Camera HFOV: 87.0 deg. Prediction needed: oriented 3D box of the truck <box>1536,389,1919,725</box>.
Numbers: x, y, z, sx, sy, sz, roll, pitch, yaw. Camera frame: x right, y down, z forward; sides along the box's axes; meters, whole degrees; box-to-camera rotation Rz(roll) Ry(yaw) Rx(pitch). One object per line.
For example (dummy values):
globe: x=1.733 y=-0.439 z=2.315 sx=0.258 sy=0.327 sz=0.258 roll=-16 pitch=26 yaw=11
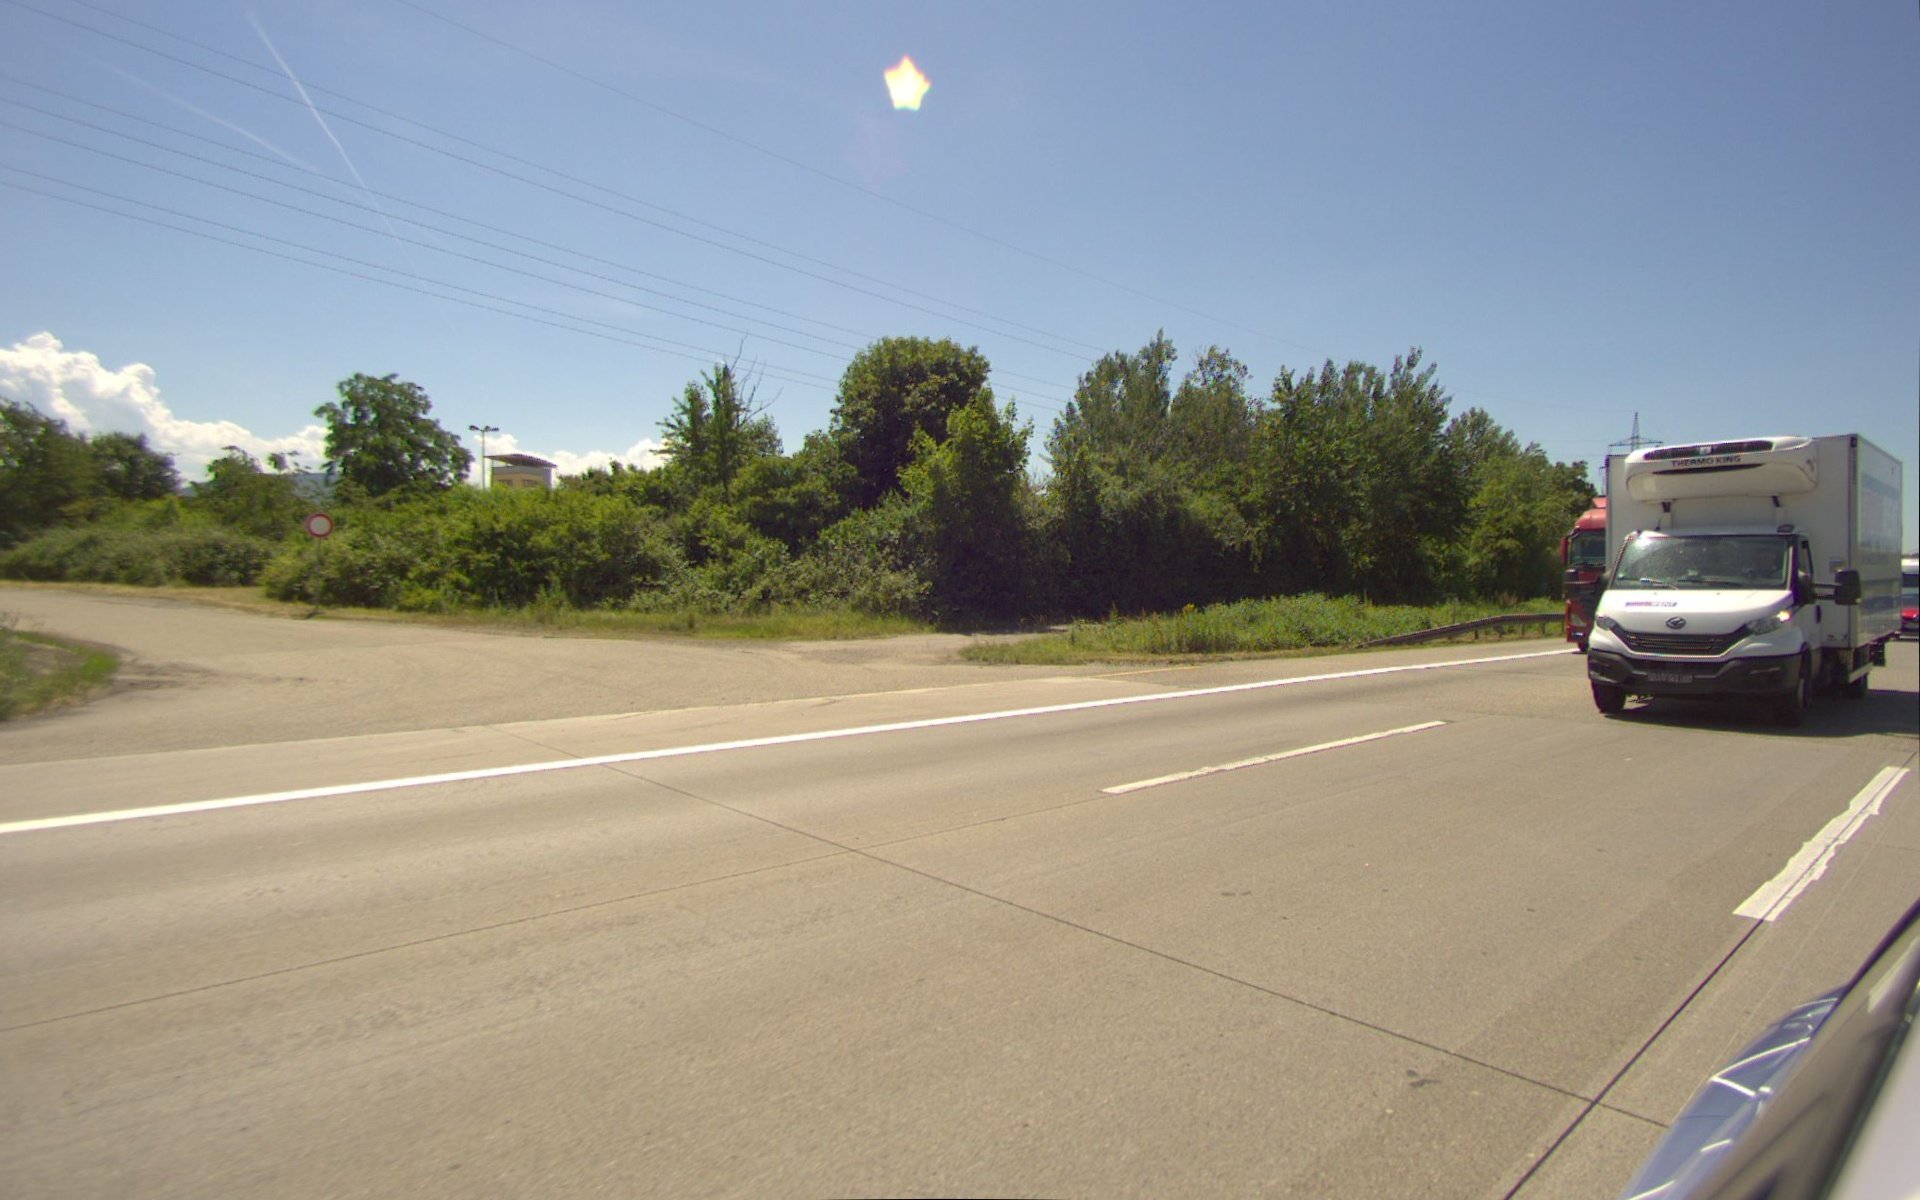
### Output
truck: x=10.792 y=-0.465 z=13.783 sx=7.678 sy=3.390 sz=2.781 roll=-1 pitch=0 yaw=-41

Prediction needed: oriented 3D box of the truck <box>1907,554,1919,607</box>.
truck: x=67.856 y=-1.375 z=70.244 sx=6.344 sy=3.598 sz=2.455 roll=0 pitch=0 yaw=-41

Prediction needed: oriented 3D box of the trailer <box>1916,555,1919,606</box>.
trailer: x=72.642 y=-1.428 z=74.411 sx=9.548 sy=3.598 sz=2.455 roll=-1 pitch=0 yaw=-41

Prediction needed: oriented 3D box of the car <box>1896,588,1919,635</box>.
car: x=31.331 y=0.340 z=32.316 sx=3.930 sy=1.466 sz=1.669 roll=-1 pitch=0 yaw=-41

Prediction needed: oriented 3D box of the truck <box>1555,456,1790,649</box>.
truck: x=19.698 y=-1.111 z=27.566 sx=10.698 sy=4.377 sz=2.852 roll=-1 pitch=0 yaw=-42
